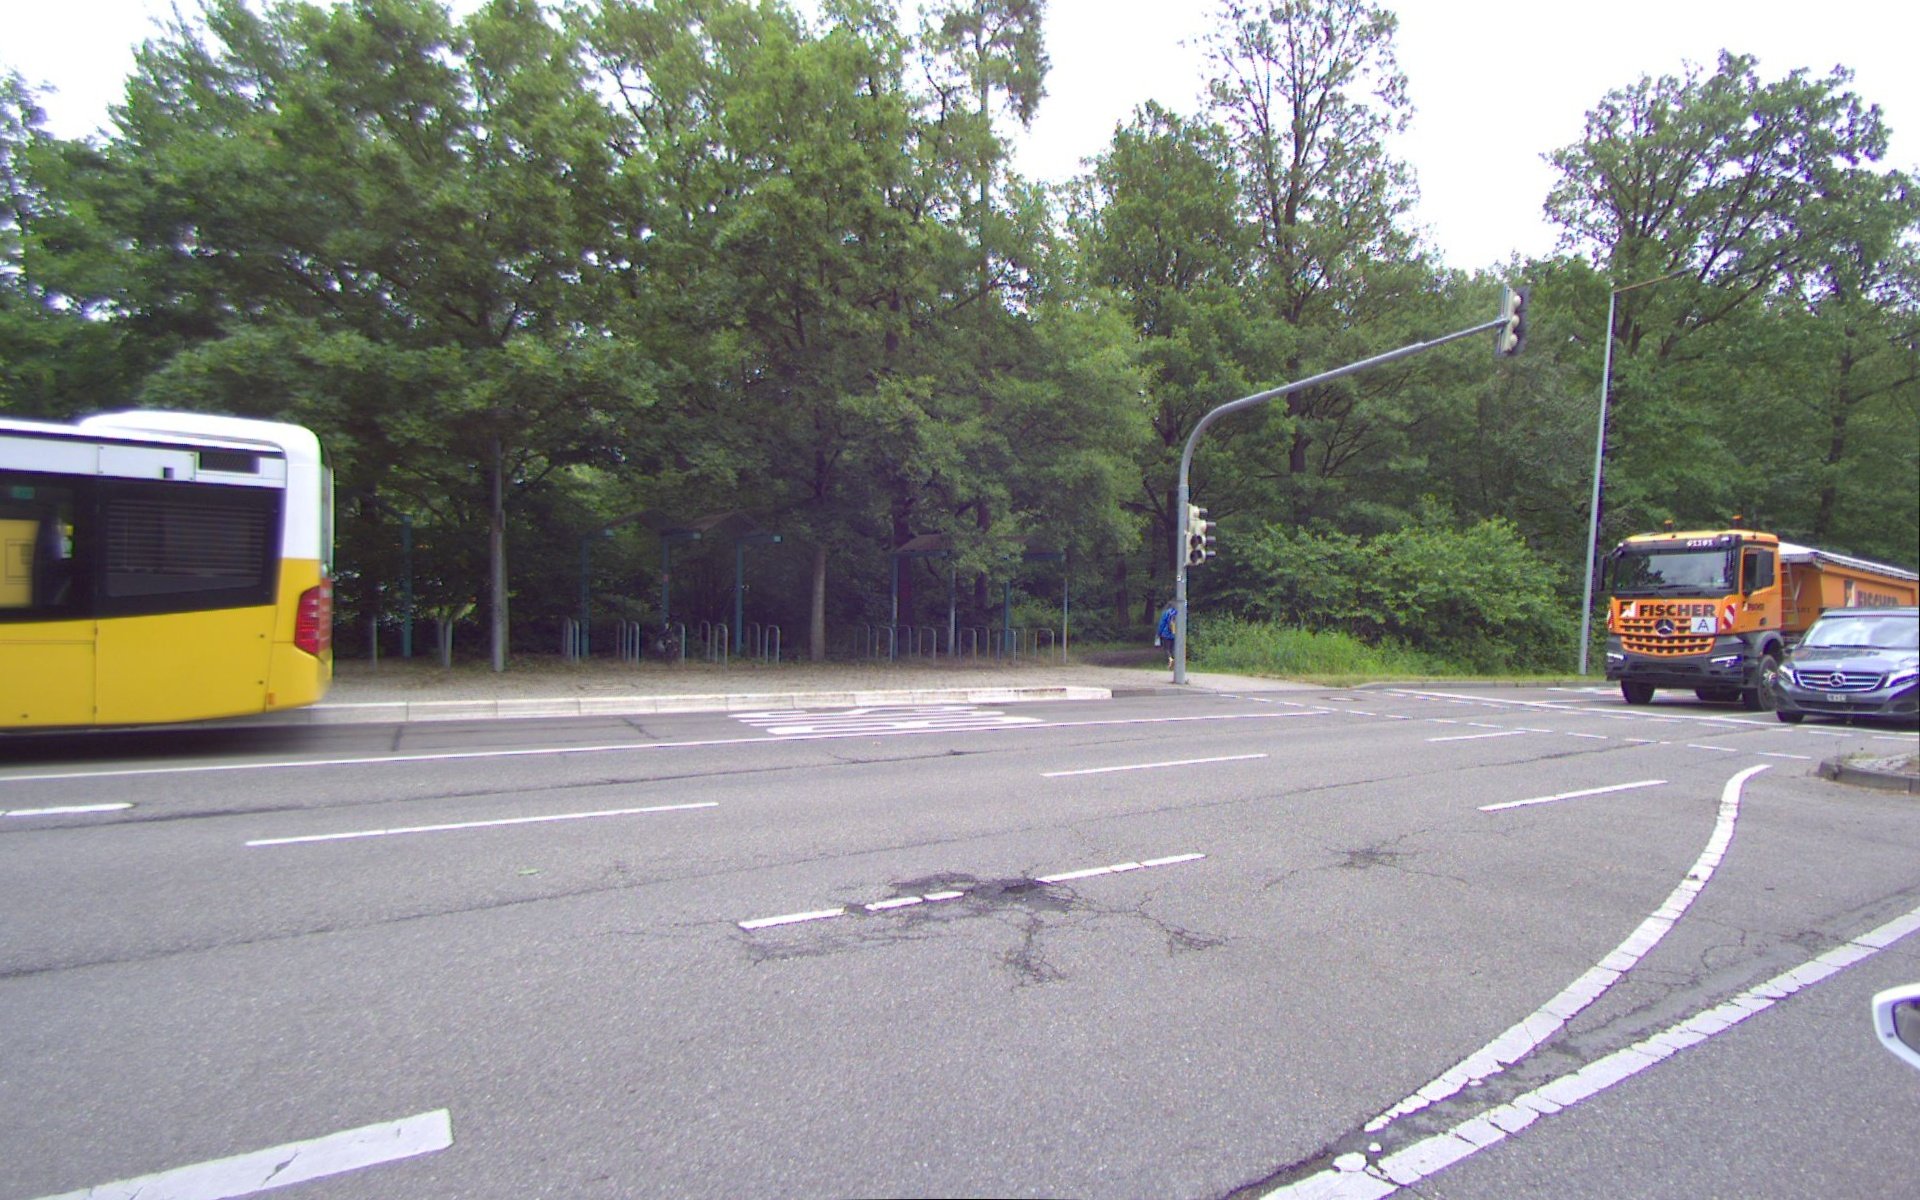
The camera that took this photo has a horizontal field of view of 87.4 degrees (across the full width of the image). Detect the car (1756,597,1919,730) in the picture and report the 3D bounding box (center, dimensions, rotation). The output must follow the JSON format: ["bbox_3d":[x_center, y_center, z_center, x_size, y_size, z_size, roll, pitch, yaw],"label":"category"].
[{"bbox_3d":[15.292,1.015,16.639,4.789,1.918,1.981,2,-2,-34],"label":"car"}]

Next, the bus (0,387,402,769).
[{"bbox_3d":[-9.887,-0.224,8.885,8.592,3.168,2.885,1,0,-30],"label":"bus"}]

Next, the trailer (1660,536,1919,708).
[{"bbox_3d":[19.469,0.604,23.223,8.486,3.362,2.720,3,-2,-36],"label":"trailer"}]

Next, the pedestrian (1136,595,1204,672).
[{"bbox_3d":[4.855,0.758,23.306,1.055,1.671,1.043,0,4,-27],"label":"pedestrian"}]

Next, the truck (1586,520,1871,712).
[{"bbox_3d":[16.009,0.433,20.737,7.090,3.362,2.721,3,-2,-36],"label":"truck"}]
